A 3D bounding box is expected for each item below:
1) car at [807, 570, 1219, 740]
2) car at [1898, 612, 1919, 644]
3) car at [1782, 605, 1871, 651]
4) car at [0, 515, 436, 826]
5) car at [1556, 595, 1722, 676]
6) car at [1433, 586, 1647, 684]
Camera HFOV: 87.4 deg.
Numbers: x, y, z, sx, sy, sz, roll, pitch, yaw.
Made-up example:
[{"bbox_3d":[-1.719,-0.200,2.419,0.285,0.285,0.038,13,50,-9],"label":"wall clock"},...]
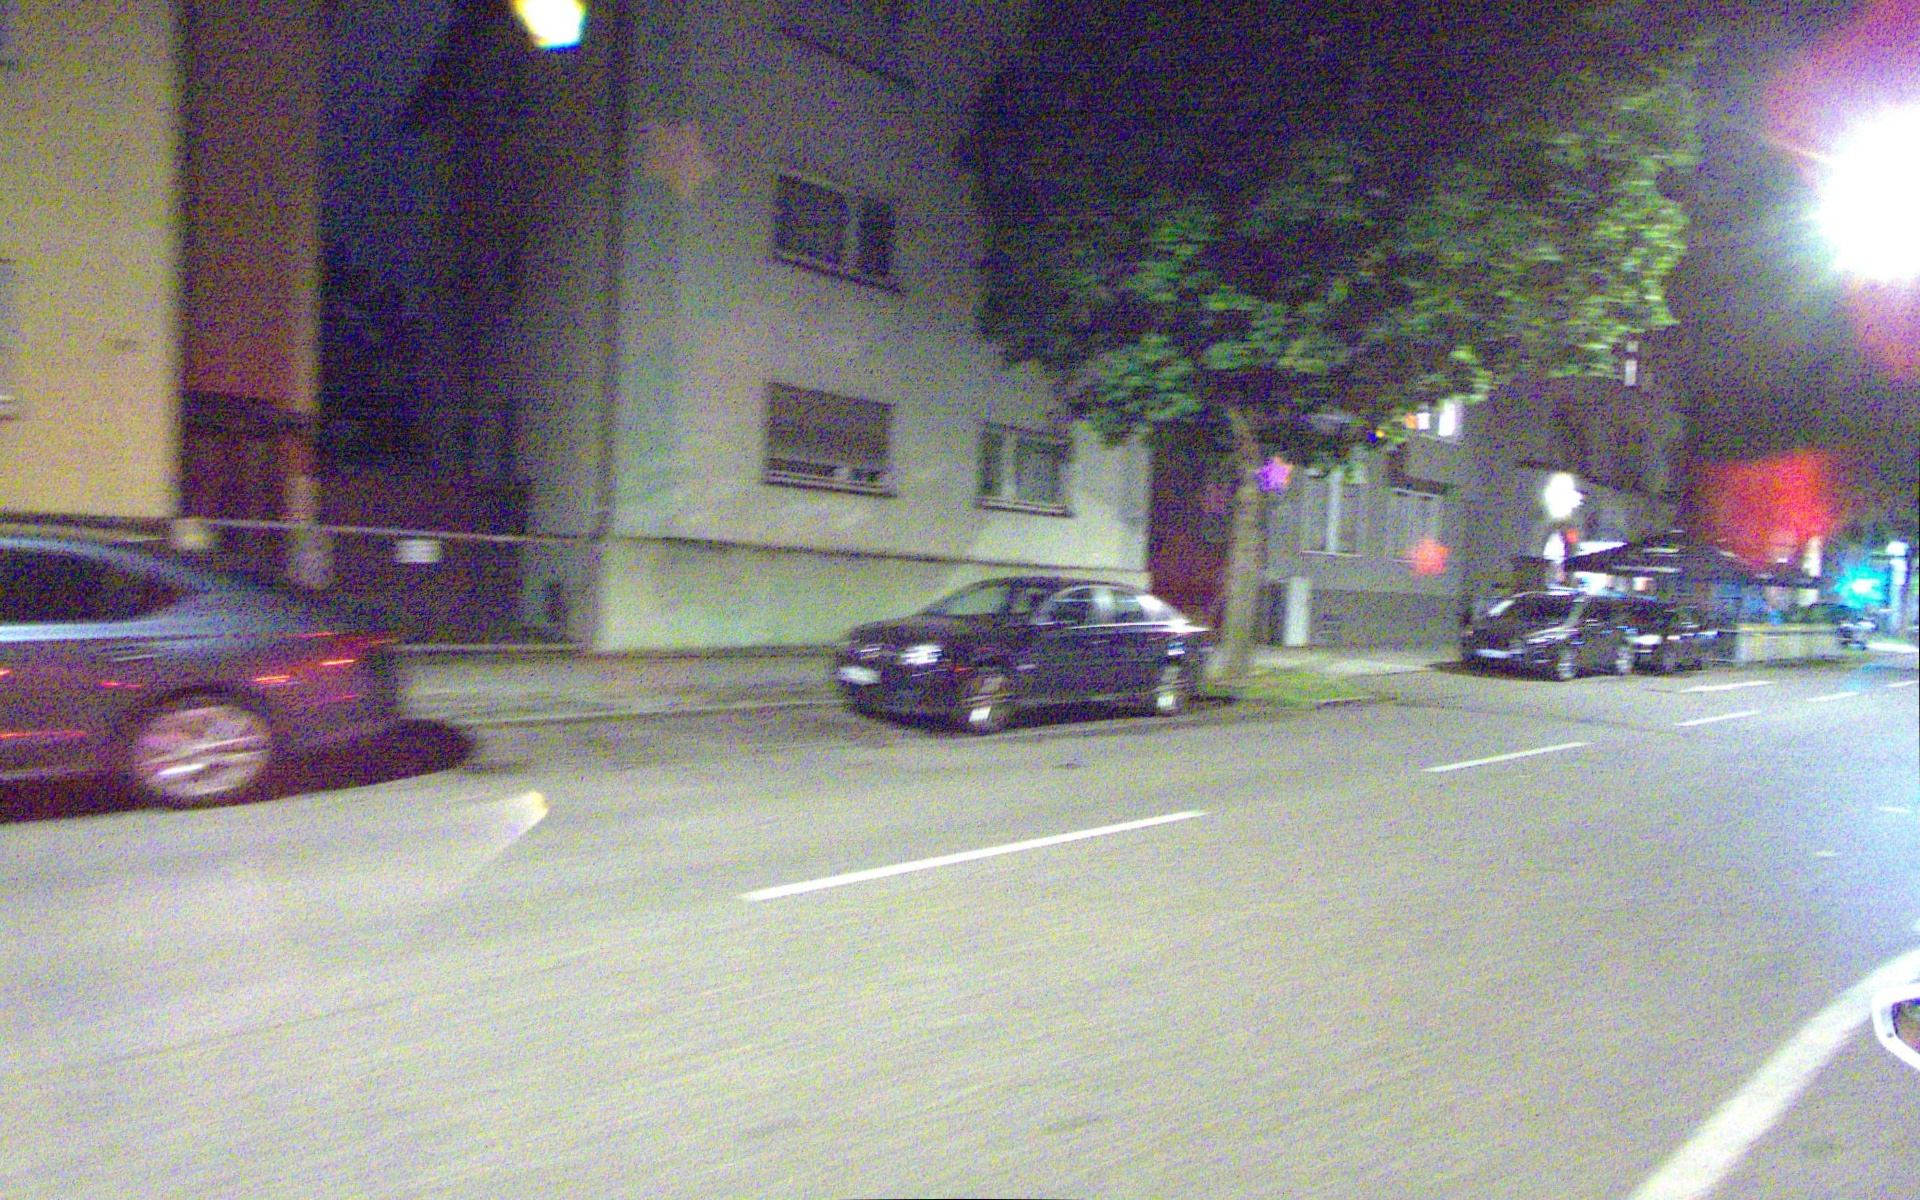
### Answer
[{"bbox_3d":[0.729,0.488,10.494,4.418,1.401,1.608,1,1,-42],"label":"car"},{"bbox_3d":[47.065,1.377,48.747,3.965,1.450,1.638,1,1,-39],"label":"car"},{"bbox_3d":[30.641,0.978,35.494,3.965,1.450,1.638,1,1,-39],"label":"car"},{"bbox_3d":[-5.577,0.297,5.196,4.823,1.505,1.753,2,1,-40],"label":"car"},{"bbox_3d":[14.758,0.742,21.764,4.287,1.501,1.789,2,2,-40],"label":"car"},{"bbox_3d":[10.871,0.617,18.702,4.413,1.491,1.884,2,3,-39],"label":"car"}]
